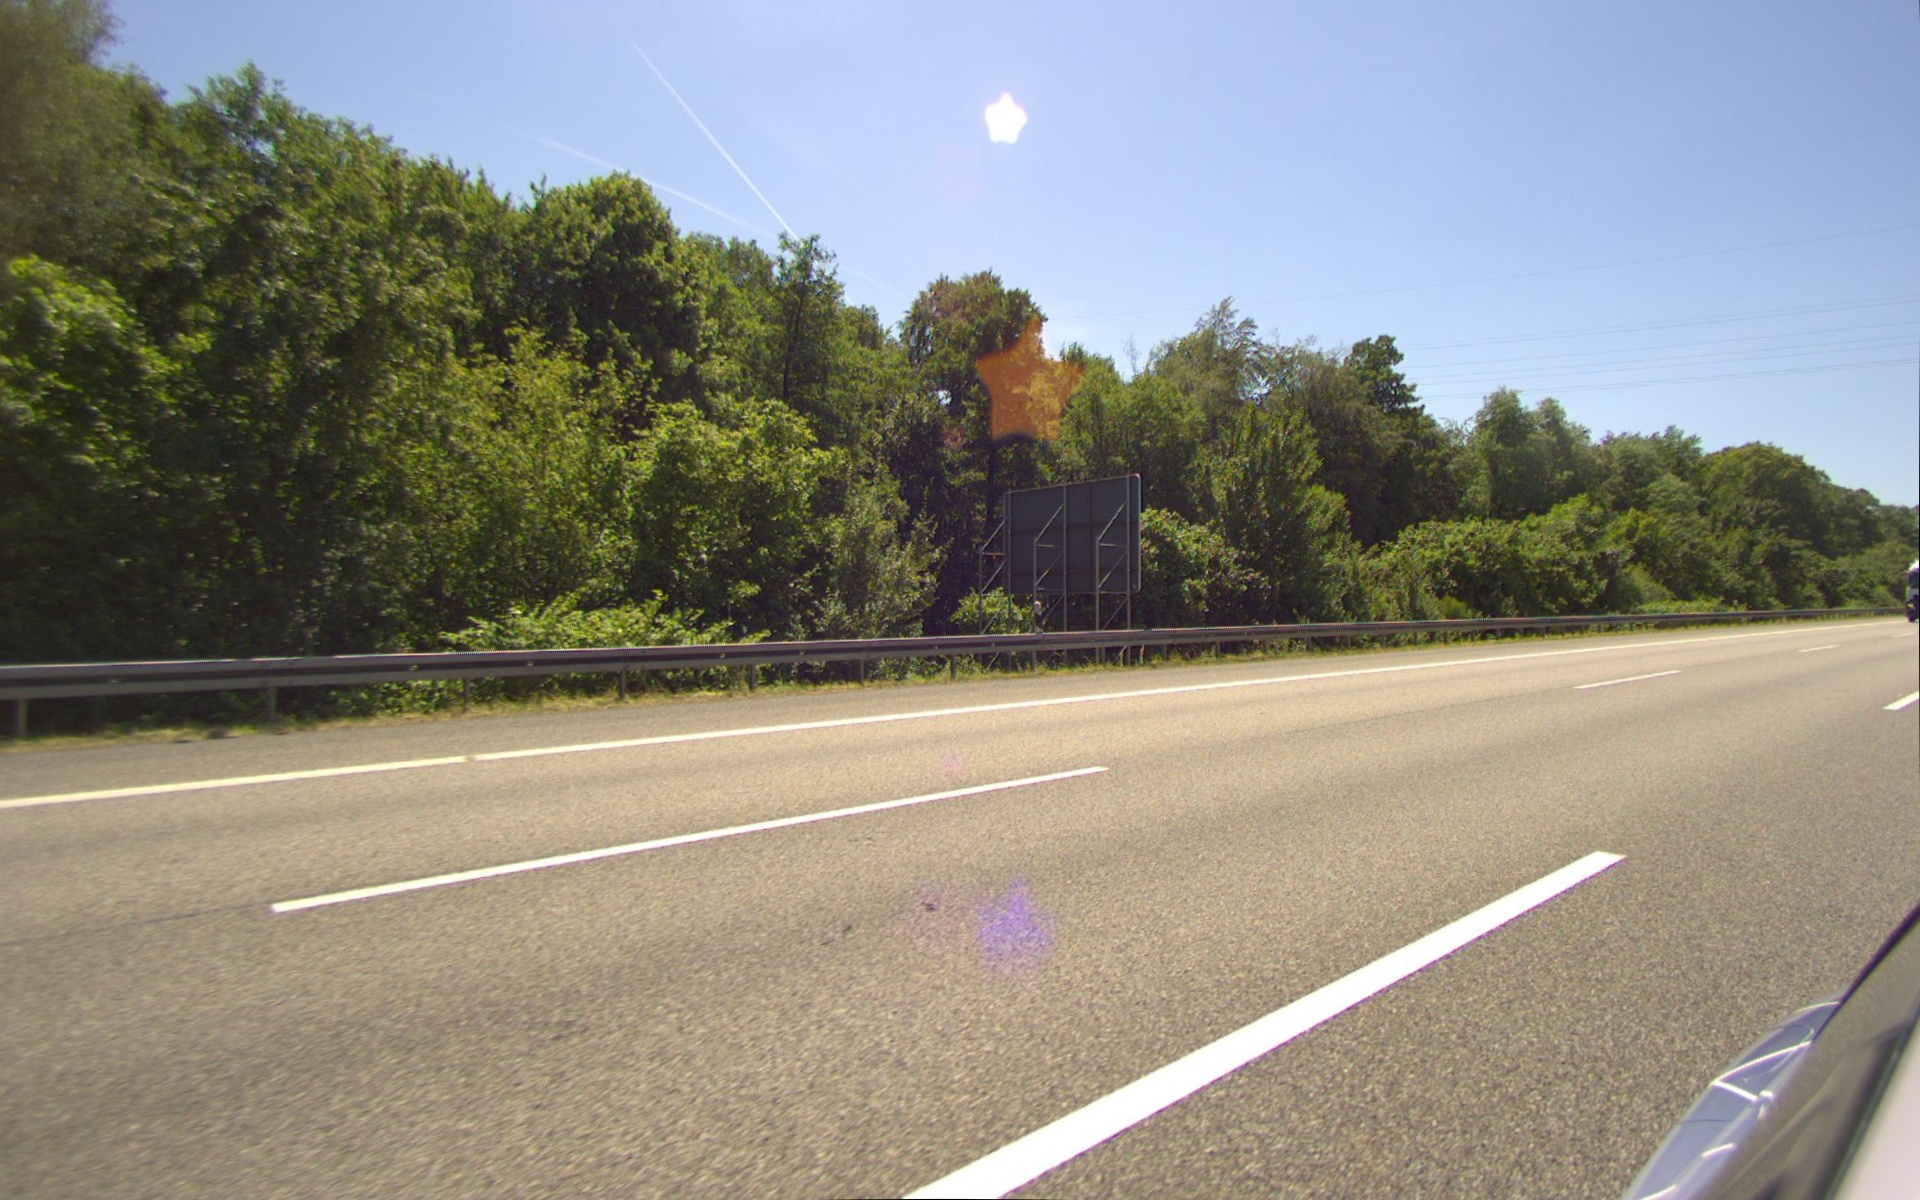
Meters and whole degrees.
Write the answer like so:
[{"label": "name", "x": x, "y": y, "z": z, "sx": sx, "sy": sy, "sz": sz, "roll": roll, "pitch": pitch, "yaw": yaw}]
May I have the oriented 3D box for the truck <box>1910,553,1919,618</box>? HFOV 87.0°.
[{"label": "truck", "x": 65.711, "y": -0.977, "z": 66.478, "sx": 14.195, "sy": 4.020, "sz": 3.048, "roll": -1, "pitch": 1, "yaw": -39}]
